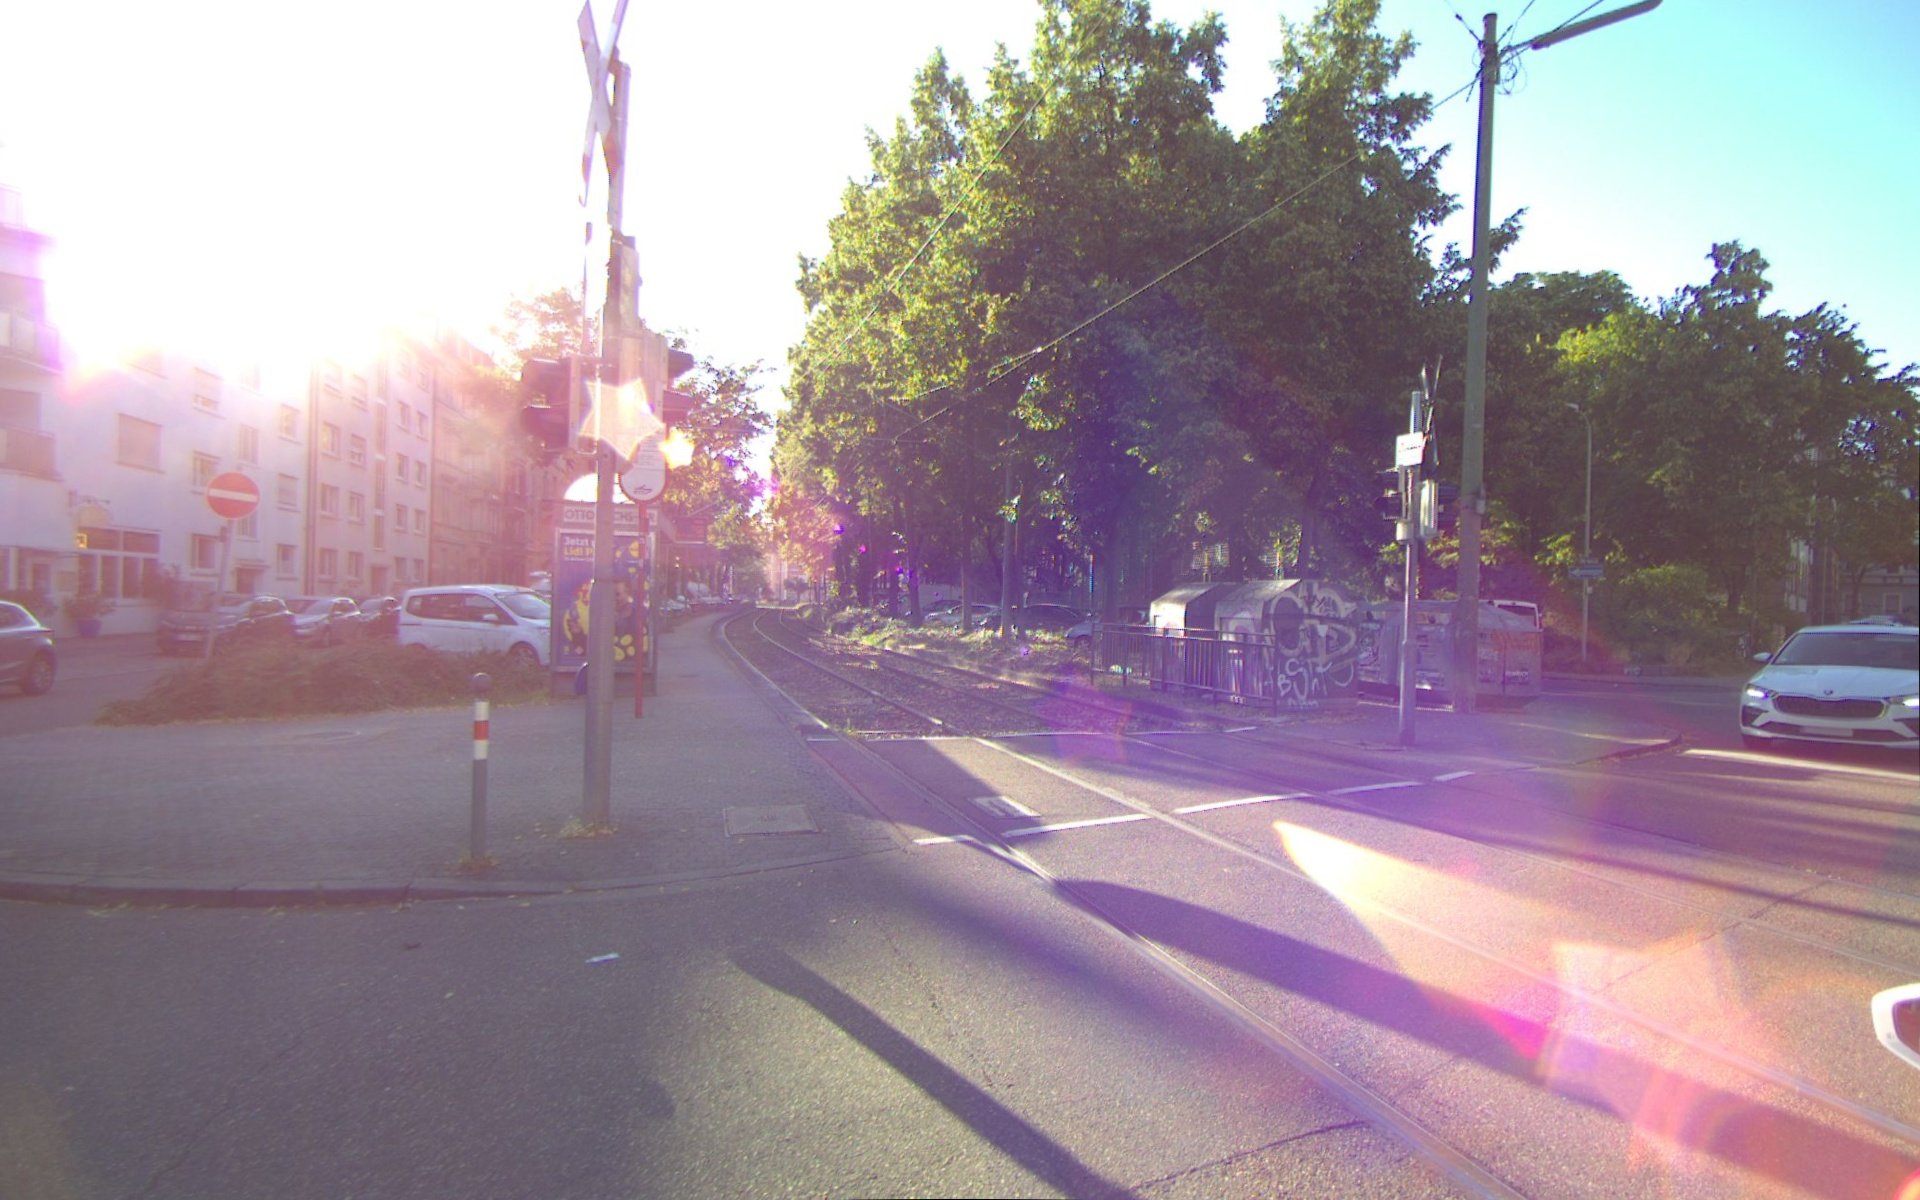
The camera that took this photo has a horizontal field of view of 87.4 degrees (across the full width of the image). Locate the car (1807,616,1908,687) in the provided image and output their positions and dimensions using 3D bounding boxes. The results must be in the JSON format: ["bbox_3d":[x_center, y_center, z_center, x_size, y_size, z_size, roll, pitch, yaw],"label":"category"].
[{"bbox_3d":[24.481,1.339,27.359,1.807,1.636,4.265,6,3,44],"label":"car"}]

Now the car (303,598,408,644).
[{"bbox_3d":[-20.427,0.668,34.134,1.685,1.465,3.993,0,0,-9],"label":"car"}]

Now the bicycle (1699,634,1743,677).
[{"bbox_3d":[21.076,1.509,27.791,2.610,1.116,0.591,1,0,-45],"label":"bicycle"}]

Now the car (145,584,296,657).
[{"bbox_3d":[-18.614,0.473,25.505,1.687,1.695,3.988,0,0,-14],"label":"car"}]

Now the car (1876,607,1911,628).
[{"bbox_3d":[85.555,1.627,92.096,1.969,1.706,3.984,3,-1,38],"label":"car"}]

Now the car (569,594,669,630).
[{"bbox_3d":[-16.291,0.576,48.065,4.157,1.493,1.858,-2,1,16],"label":"car"}]

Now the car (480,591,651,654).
[{"bbox_3d":[-10.910,0.621,27.878,4.156,1.528,1.608,-2,1,12],"label":"car"}]

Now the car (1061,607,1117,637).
[{"bbox_3d":[6.567,1.104,51.504,1.550,1.403,3.588,1,0,-16],"label":"car"}]

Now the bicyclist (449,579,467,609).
[{"bbox_3d":[-27.863,-0.352,55.758,0.701,1.639,0.722,1,0,-12],"label":"bicyclist"}]

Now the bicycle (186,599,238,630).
[{"bbox_3d":[-25.303,0.480,34.011,0.524,1.016,2.171,1,0,-11],"label":"bicycle"}]

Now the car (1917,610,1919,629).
[{"bbox_3d":[87.838,1.771,90.376,1.969,1.706,3.984,3,-1,38],"label":"car"}]

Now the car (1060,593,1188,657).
[{"bbox_3d":[4.843,0.718,29.686,3.546,1.583,1.608,4,0,12],"label":"car"}]

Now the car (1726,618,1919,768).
[{"bbox_3d":[10.816,0.984,12.115,4.029,1.476,1.688,1,0,-40],"label":"car"}]

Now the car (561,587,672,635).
[{"bbox_3d":[-14.302,0.467,41.834,4.161,1.772,1.856,-2,1,24],"label":"car"}]

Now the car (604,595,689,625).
[{"bbox_3d":[-17.505,0.548,56.140,4.157,1.493,1.858,-2,1,16],"label":"car"}]

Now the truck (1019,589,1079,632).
[{"bbox_3d":[5.210,0.603,59.229,2.332,2.384,4.374,1,0,-12],"label":"truck"}]

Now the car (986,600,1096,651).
[{"bbox_3d":[2.921,0.911,35.863,3.752,1.516,1.739,4,-1,7],"label":"car"}]

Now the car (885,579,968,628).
[{"bbox_3d":[-1.969,0.214,59.220,4.411,2.508,1.820,4,-1,19],"label":"car"}]

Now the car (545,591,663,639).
[{"bbox_3d":[-13.896,0.577,39.182,4.161,1.673,1.856,-2,1,24],"label":"car"}]

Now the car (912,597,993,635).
[{"bbox_3d":[-0.346,0.817,50.061,3.752,1.608,1.739,4,-1,7],"label":"car"}]

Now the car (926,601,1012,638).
[{"bbox_3d":[0.449,0.925,47.357,3.752,1.440,1.739,4,-1,7],"label":"car"}]

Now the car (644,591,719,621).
[{"bbox_3d":[-17.524,0.368,63.297,4.157,1.721,1.858,-2,1,16],"label":"car"}]

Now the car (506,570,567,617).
[{"bbox_3d":[-28.018,-0.424,66.631,2.514,2.926,5.471,0,0,-9],"label":"car"}]

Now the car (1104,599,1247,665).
[{"bbox_3d":[5.711,0.822,26.807,3.546,1.466,1.608,4,0,11],"label":"car"}]

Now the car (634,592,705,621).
[{"bbox_3d":[-19.664,0.451,68.046,4.157,1.721,1.858,-2,1,16],"label":"car"}]

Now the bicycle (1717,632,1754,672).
[{"bbox_3d":[22.962,1.514,29.726,0.590,1.116,2.612,1,0,43],"label":"bicycle"}]

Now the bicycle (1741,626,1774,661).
[{"bbox_3d":[27.380,1.474,34.467,0.590,1.116,2.610,1,0,45],"label":"bicycle"}]

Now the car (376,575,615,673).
[{"bbox_3d":[-8.921,0.457,19.328,4.158,1.675,1.607,-2,1,19],"label":"car"}]

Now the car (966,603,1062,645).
[{"bbox_3d":[2.249,0.990,41.460,3.752,1.409,1.739,4,-1,7],"label":"car"}]

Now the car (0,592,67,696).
[{"bbox_3d":[-14.245,0.625,13.587,1.688,1.465,3.986,0,0,-17],"label":"car"}]

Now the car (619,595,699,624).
[{"bbox_3d":[-17.720,0.538,59.202,4.157,1.493,1.858,-2,1,16],"label":"car"}]

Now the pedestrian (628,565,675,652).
[{"bbox_3d":[-7.020,0.194,22.889,0.834,1.936,0.837,1,0,-4],"label":"pedestrian"}]

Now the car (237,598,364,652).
[{"bbox_3d":[-19.549,0.688,29.992,1.685,1.465,3.993,0,0,-9],"label":"car"}]

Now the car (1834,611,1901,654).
[{"bbox_3d":[37.131,1.303,41.066,1.807,1.520,3.907,6,3,44],"label":"car"}]

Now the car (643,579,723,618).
[{"bbox_3d":[-20.399,-0.096,74.073,5.164,2.606,2.274,-2,1,16],"label":"car"}]

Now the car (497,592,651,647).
[{"bbox_3d":[-11.876,0.578,30.962,4.156,1.478,1.608,-2,1,12],"label":"car"}]

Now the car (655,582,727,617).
[{"bbox_3d":[-22.101,-0.076,82.660,5.164,2.606,2.274,-2,1,16],"label":"car"}]

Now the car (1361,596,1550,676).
[{"bbox_3d":[13.533,0.919,27.795,1.921,2.030,4.637,1,0,-20],"label":"car"}]
